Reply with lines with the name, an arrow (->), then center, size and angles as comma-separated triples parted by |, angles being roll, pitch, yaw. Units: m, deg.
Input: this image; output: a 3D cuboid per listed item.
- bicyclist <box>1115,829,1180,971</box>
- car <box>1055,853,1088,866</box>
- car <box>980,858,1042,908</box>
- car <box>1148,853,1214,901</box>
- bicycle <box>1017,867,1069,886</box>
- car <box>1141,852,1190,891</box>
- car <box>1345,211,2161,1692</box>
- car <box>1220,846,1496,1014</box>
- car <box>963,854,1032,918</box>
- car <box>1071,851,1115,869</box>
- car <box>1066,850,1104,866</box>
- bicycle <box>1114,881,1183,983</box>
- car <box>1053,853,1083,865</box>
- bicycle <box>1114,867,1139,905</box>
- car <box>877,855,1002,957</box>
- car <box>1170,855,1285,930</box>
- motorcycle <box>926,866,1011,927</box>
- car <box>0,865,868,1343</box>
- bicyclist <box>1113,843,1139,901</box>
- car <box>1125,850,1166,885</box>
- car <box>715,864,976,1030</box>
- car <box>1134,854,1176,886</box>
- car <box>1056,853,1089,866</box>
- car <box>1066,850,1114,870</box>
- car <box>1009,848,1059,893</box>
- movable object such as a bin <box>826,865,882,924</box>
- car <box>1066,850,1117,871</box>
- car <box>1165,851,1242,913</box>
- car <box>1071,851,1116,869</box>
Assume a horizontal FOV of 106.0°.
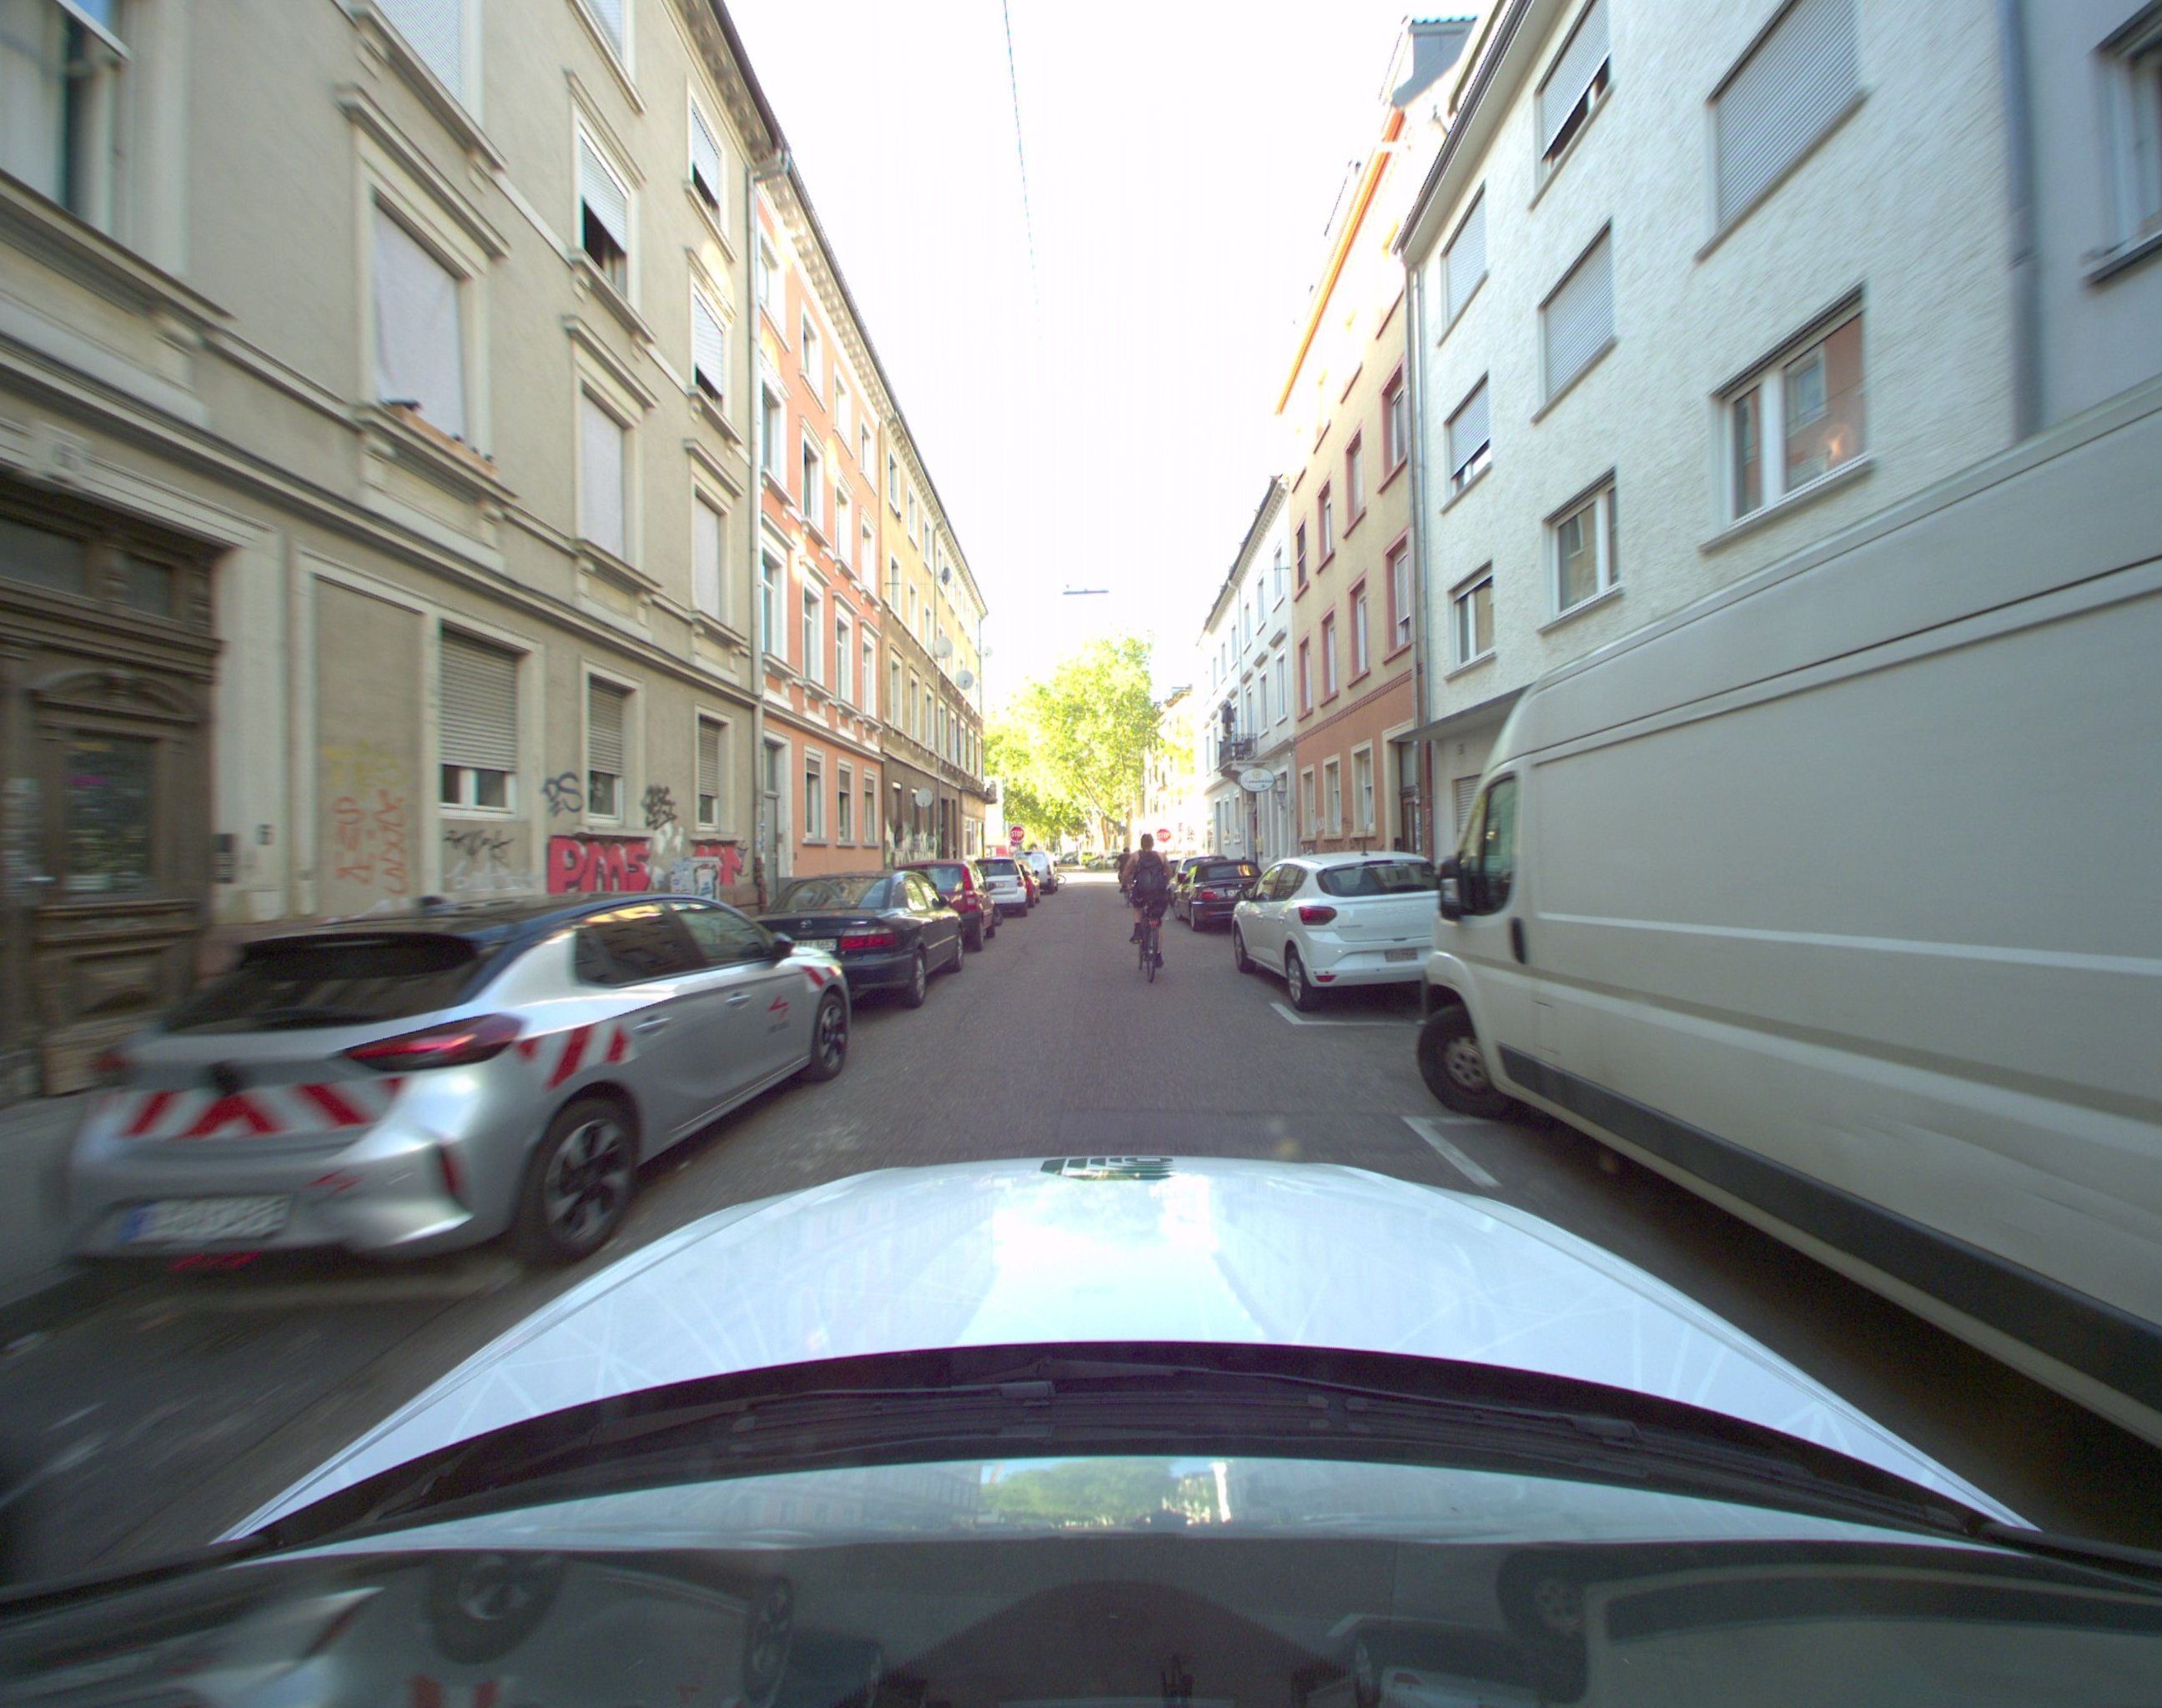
bicyclist -> 0.819, 0.548, 10.264 | 0.737, 1.679, 1.116 | 0, 0, 1
car -> -1.373, 0.713, 114.028 | 4.459, 1.696, 1.864 | -2, 0, -4
car -> -2.134, 0.862, 25.705 | 1.547, 1.399, 3.668 | -2, 0, 1
car -> 3.323, 0.722, 27.722 | 1.705, 1.470, 3.999 | -2, 0, -1
bicycle -> -2.014, 1.181, 43.419 | 2.708, 0.892, 0.618 | -2, 0, -2
car -> 3.543, 0.707, 34.829 | 1.647, 1.530, 3.573 | -2, 0, -1
car -> 2.992, 0.157, 2.922 | 2.196, 2.551, 6.037 | -2, 0, 1
car -> 2.886, 0.693, 9.468 | 1.726, 1.470, 4.018 | -2, 0, -2
car -> -2.174, 0.796, 21.940 | 1.540, 1.550, 3.462 | -2, 0, -2
car -> 1.215, 0.582, 85.310 | 4.459, 1.696, 1.864 | -2, 0, -4
car -> 0.412, 0.458, 98.448 | 4.459, 1.696, 1.864 | -2, 0, -4
bicycle -> 0.818, 0.929, 10.376 | 0.737, 1.100, 2.042 | 0, 0, 1
car -> -1.941, 0.774, 121.338 | 4.459, 1.696, 1.864 | -2, 0, -4
bicycle -> 1.329, 0.929, 24.062 | 0.662, 1.037, 1.959 | -2, 0, 1
car -> -2.395, 0.819, 14.565 | 1.600, 1.530, 3.378 | -3, 0, -1
car -> 2.971, 0.725, 17.286 | 1.652, 1.338, 3.999 | -2, 0, -1
motorcycle -> -2.513, 0.937, 18.191 | 1.797, 1.256, 0.707 | -2, 0, -13
car -> -2.655, 0.837, 4.546 | 1.667, 1.430, 3.892 | -2, 0, 3
bicyclist -> 1.314, 0.514, 23.976 | 0.667, 1.658, 0.877 | -2, 0, 1
car -> 3.573, 0.726, 45.636 | 1.888, 1.769, 3.998 | -2, 0, -1
car -> -2.436, 0.875, 9.605 | 1.700, 1.414, 4.303 | -2, 0, 1
car -> 3.618, 0.758, 40.404 | 1.681, 1.471, 3.573 | -2, 0, -1
car -> -1.223, 0.723, 111.738 | 4.459, 1.696, 1.864 | -2, 0, -4
car -> 0.841, 0.577, 78.537 | 4.459, 1.696, 1.864 | -2, 0, -4
car -> -1.922, 0.653, 34.143 | 1.782, 1.737, 3.876 | -2, 0, 1
movable object such as a bin -> -4.790, 0.847, 17.216 | 0.831, 1.126, 0.716 | -6, 0, 3
car -> 0.902, 0.580, 73.505 | 4.459, 1.759, 1.864 | -2, 0, -4
car -> 3.247, 0.704, 22.264 | 1.586, 1.492, 3.877 | -2, 0, 2
car -> 1.257, 0.584, 83.050 | 4.459, 1.696, 1.864 | -2, 0, -4
